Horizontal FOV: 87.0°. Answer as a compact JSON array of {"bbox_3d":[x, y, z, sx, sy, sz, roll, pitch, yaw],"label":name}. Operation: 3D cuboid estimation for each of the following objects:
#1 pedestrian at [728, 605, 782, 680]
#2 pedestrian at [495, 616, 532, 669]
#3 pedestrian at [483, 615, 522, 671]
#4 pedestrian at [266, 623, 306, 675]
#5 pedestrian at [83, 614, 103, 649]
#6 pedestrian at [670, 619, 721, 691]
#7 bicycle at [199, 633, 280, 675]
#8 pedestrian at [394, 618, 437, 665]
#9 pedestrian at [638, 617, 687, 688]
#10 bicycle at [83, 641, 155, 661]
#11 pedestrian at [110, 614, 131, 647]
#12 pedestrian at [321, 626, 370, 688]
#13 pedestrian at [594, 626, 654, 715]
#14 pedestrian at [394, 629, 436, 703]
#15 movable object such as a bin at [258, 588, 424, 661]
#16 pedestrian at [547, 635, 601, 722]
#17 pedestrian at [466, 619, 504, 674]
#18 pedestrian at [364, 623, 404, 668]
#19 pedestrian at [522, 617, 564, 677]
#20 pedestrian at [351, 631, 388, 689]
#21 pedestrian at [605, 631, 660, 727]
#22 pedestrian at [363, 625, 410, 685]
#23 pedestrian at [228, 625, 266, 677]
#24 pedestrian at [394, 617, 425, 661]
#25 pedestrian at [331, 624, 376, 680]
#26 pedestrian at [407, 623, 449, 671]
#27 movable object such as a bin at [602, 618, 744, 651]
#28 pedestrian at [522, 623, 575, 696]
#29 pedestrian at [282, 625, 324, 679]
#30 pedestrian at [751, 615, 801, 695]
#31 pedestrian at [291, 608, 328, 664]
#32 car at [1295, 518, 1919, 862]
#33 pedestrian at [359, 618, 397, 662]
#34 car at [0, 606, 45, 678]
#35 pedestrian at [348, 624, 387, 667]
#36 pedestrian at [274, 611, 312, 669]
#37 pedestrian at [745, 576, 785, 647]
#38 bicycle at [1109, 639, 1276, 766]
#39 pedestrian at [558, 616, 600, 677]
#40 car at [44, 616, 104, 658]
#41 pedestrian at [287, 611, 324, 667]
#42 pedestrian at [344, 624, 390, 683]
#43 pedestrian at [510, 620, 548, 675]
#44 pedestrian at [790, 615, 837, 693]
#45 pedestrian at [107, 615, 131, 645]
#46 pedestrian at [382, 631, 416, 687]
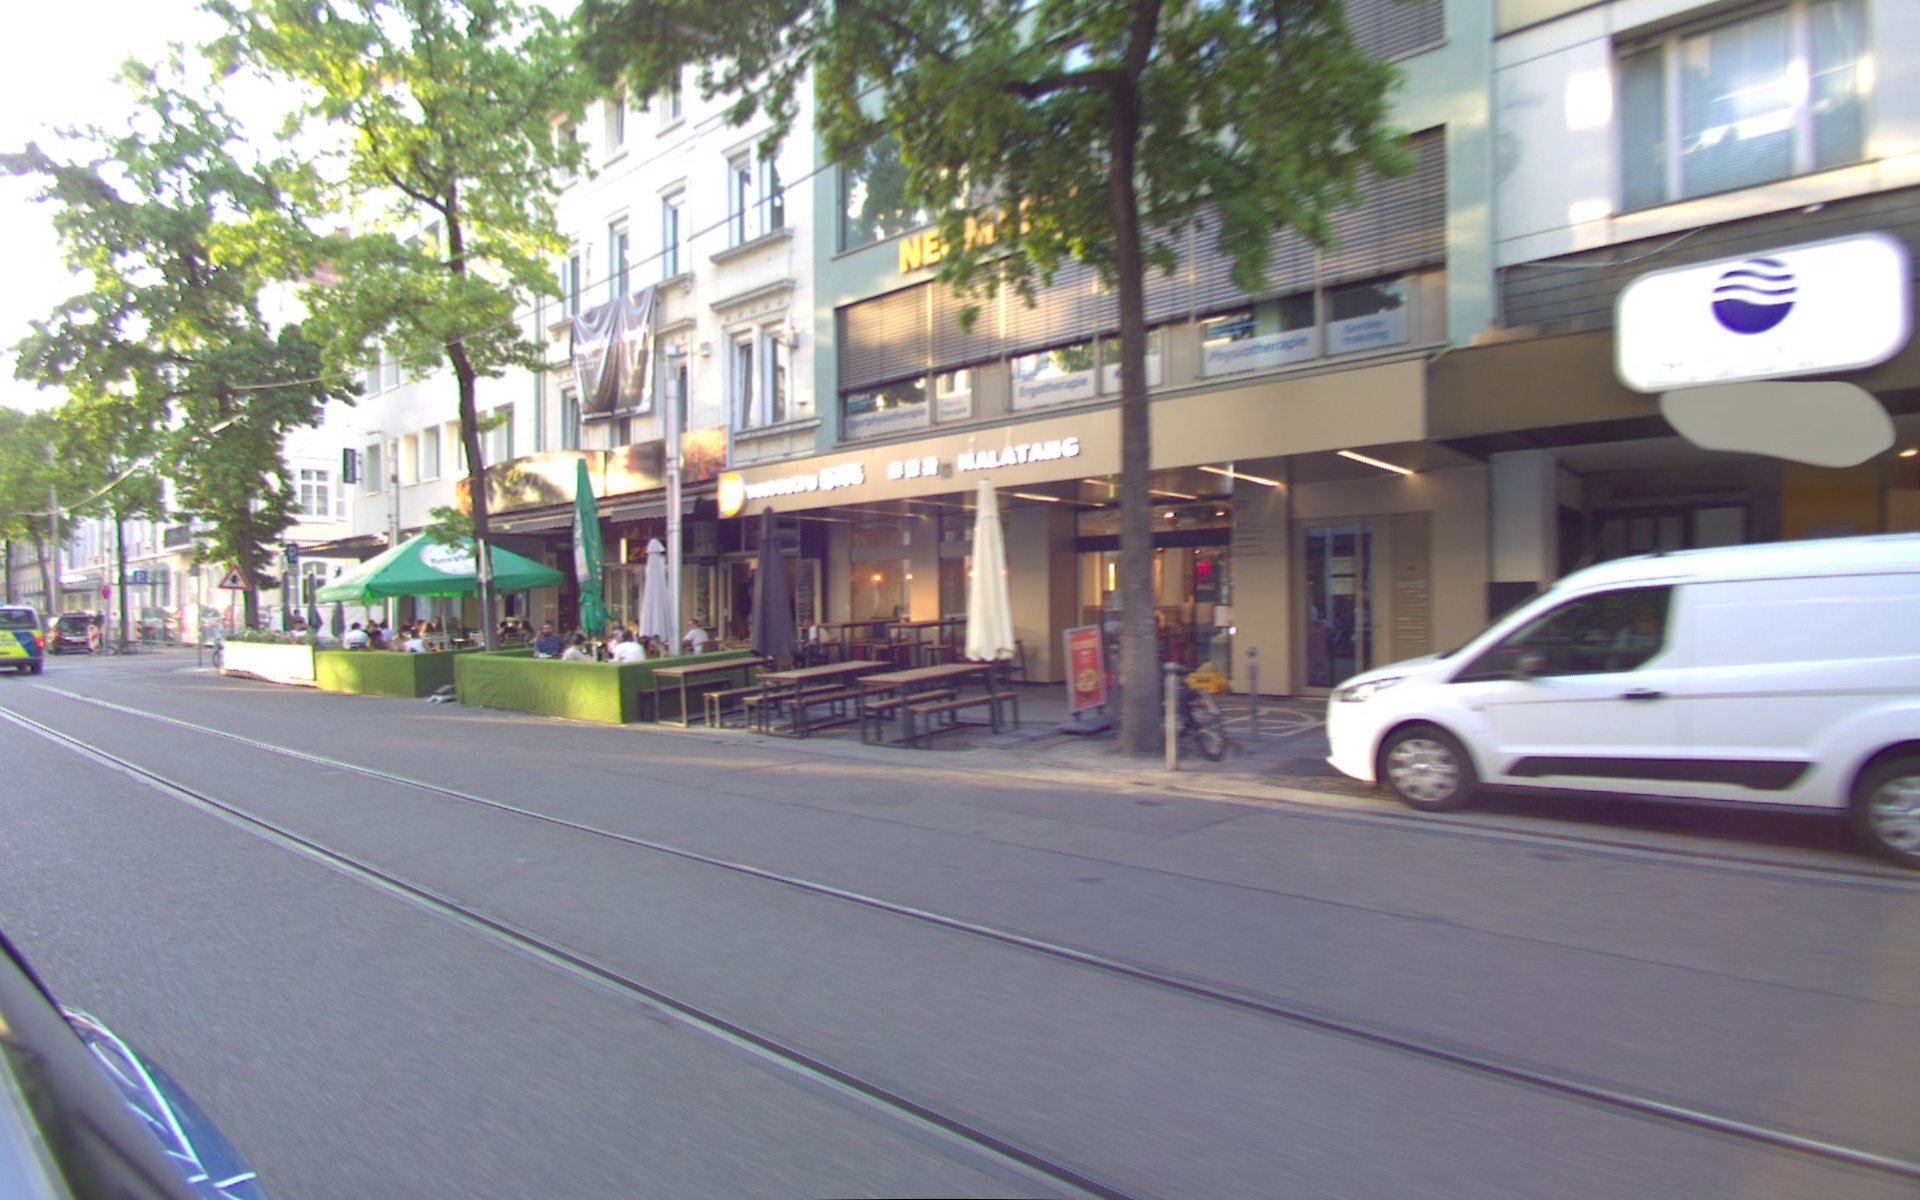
[{"bbox_3d":[-3.903,0.793,19.294,0.765,1.388,0.683,-1,0,41],"label":"pedestrian"},{"bbox_3d":[-11.948,1.121,27.087,0.765,1.388,0.647,-1,0,41],"label":"pedestrian"},{"bbox_3d":[-11.779,1.102,26.046,0.765,1.388,0.647,-1,0,41],"label":"pedestrian"},{"bbox_3d":[-18.284,1.319,27.457,0.924,1.372,0.708,-1,0,43],"label":"pedestrian"},{"bbox_3d":[-48.238,1.754,56.294,0.769,1.898,0.670,-1,1,42],"label":"pedestrian"},{"bbox_3d":[-5.206,1.063,19.890,0.765,1.340,0.647,-1,0,41],"label":"pedestrian"},{"bbox_3d":[-21.301,1.578,29.951,0.626,1.147,1.843,-1,0,38],"label":"bicycle"},{"bbox_3d":[-16.164,1.214,30.040,0.882,1.330,0.875,0,0,44],"label":"pedestrian"},{"bbox_3d":[-6.046,1.040,20.574,0.765,1.388,0.647,-1,0,41],"label":"pedestrian"},{"bbox_3d":[-35.050,2.117,42.194,1.327,0.711,2.053,-1,0,35],"label":"bicycle"},{"bbox_3d":[-48.731,1.758,58.730,0.880,1.898,0.749,-1,1,42],"label":"pedestrian"},{"bbox_3d":[-14.227,1.294,23.437,1.012,1.372,0.708,-1,0,43],"label":"pedestrian"},{"bbox_3d":[-5.419,1.119,16.315,0.731,1.356,0.637,-1,0,42],"label":"pedestrian"},{"bbox_3d":[-10.608,1.269,19.692,0.564,1.388,0.541,-1,0,41],"label":"pedestrian"},{"bbox_3d":[-26.371,1.010,43.299,2.641,2.894,5.493,0,-1,38],"label":"movable object such as a bin"},{"bbox_3d":[-5.973,1.198,15.662,0.641,1.276,0.545,-1,0,42],"label":"pedestrian"},{"bbox_3d":[-12.496,1.209,26.644,0.765,1.388,0.647,-1,0,41],"label":"pedestrian"},{"bbox_3d":[-17.748,1.378,31.179,0.882,1.330,0.875,0,0,44],"label":"pedestrian"},{"bbox_3d":[-10.010,1.121,24.277,0.765,1.388,0.647,-1,0,41],"label":"pedestrian"},{"bbox_3d":[-13.233,1.341,22.675,0.544,1.245,0.579,-1,0,43],"label":"pedestrian"},{"bbox_3d":[-4.933,1.169,15.263,0.564,1.388,0.573,-1,0,41],"label":"pedestrian"},{"bbox_3d":[-13.675,1.285,24.134,1.012,1.372,0.708,-1,0,43],"label":"pedestrian"},{"bbox_3d":[-19.770,1.408,28.056,0.792,1.387,0.685,-1,0,43],"label":"pedestrian"},{"bbox_3d":[-17.343,1.215,31.892,0.842,1.330,0.615,0,0,44],"label":"pedestrian"},{"bbox_3d":[-15.293,1.296,25.512,1.012,1.372,0.708,-1,0,43],"label":"pedestrian"},{"bbox_3d":[-15.440,1.336,29.361,0.882,1.330,0.838,0,0,45],"label":"pedestrian"},{"bbox_3d":[-15.686,1.861,55.746,2.897,1.677,7.197,0,-1,39],"label":"movable object such as a bin"},{"bbox_3d":[-7.455,1.064,18.336,0.600,1.274,0.701,-1,0,41],"label":"pedestrian"},{"bbox_3d":[-17.214,1.346,26.516,0.871,1.372,0.708,-1,0,43],"label":"pedestrian"},{"bbox_3d":[-3.298,0.974,18.173,0.648,1.388,0.599,-1,0,41],"label":"pedestrian"},{"bbox_3d":[-20.814,1.146,32.403,0.634,1.754,0.779,-1,0,10],"label":"pedestrian"},{"bbox_3d":[4.822,0.457,6.839,4.515,1.831,1.775,0,1,43],"label":"car"},{"bbox_3d":[-18.385,1.246,31.980,0.882,1.330,0.838,0,0,45],"label":"pedestrian"},{"bbox_3d":[-28.432,1.205,29.535,4.847,1.991,1.973,-1,-1,41],"label":"car"},{"bbox_3d":[-19.158,1.471,32.711,0.882,1.330,0.875,0,0,44],"label":"pedestrian"},{"bbox_3d":[-20.535,1.226,31.165,0.632,1.754,0.782,-1,0,-1],"label":"pedestrian"},{"bbox_3d":[-4.937,0.289,25.649,0.760,1.779,0.651,-1,0,23],"label":"pedestrian"},{"bbox_3d":[2.247,0.958,10.100,0.602,1.076,2.026,-1,-1,-20],"label":"bicycle"},{"bbox_3d":[-9.060,1.093,24.063,0.765,1.388,0.647,-1,0,41],"label":"pedestrian"},{"bbox_3d":[-41.432,1.722,47.303,3.879,1.778,1.748,-2,1,44],"label":"car"},{"bbox_3d":[-20.753,1.224,32.091,0.634,1.754,0.780,-1,0,7],"label":"pedestrian"},{"bbox_3d":[-14.502,1.291,24.748,0.924,1.372,0.708,-1,0,43],"label":"pedestrian"},{"bbox_3d":[-11.307,1.232,26.532,0.765,1.388,0.647,-1,0,41],"label":"pedestrian"},{"bbox_3d":[-2.688,0.977,18.540,0.679,1.388,0.532,-1,0,41],"label":"pedestrian"},{"bbox_3d":[-47.560,1.674,57.242,0.761,1.668,0.875,-2,-1,39],"label":"pedestrian"},{"bbox_3d":[-12.823,1.332,23.123,0.511,1.228,0.537,-1,0,43],"label":"pedestrian"}]
